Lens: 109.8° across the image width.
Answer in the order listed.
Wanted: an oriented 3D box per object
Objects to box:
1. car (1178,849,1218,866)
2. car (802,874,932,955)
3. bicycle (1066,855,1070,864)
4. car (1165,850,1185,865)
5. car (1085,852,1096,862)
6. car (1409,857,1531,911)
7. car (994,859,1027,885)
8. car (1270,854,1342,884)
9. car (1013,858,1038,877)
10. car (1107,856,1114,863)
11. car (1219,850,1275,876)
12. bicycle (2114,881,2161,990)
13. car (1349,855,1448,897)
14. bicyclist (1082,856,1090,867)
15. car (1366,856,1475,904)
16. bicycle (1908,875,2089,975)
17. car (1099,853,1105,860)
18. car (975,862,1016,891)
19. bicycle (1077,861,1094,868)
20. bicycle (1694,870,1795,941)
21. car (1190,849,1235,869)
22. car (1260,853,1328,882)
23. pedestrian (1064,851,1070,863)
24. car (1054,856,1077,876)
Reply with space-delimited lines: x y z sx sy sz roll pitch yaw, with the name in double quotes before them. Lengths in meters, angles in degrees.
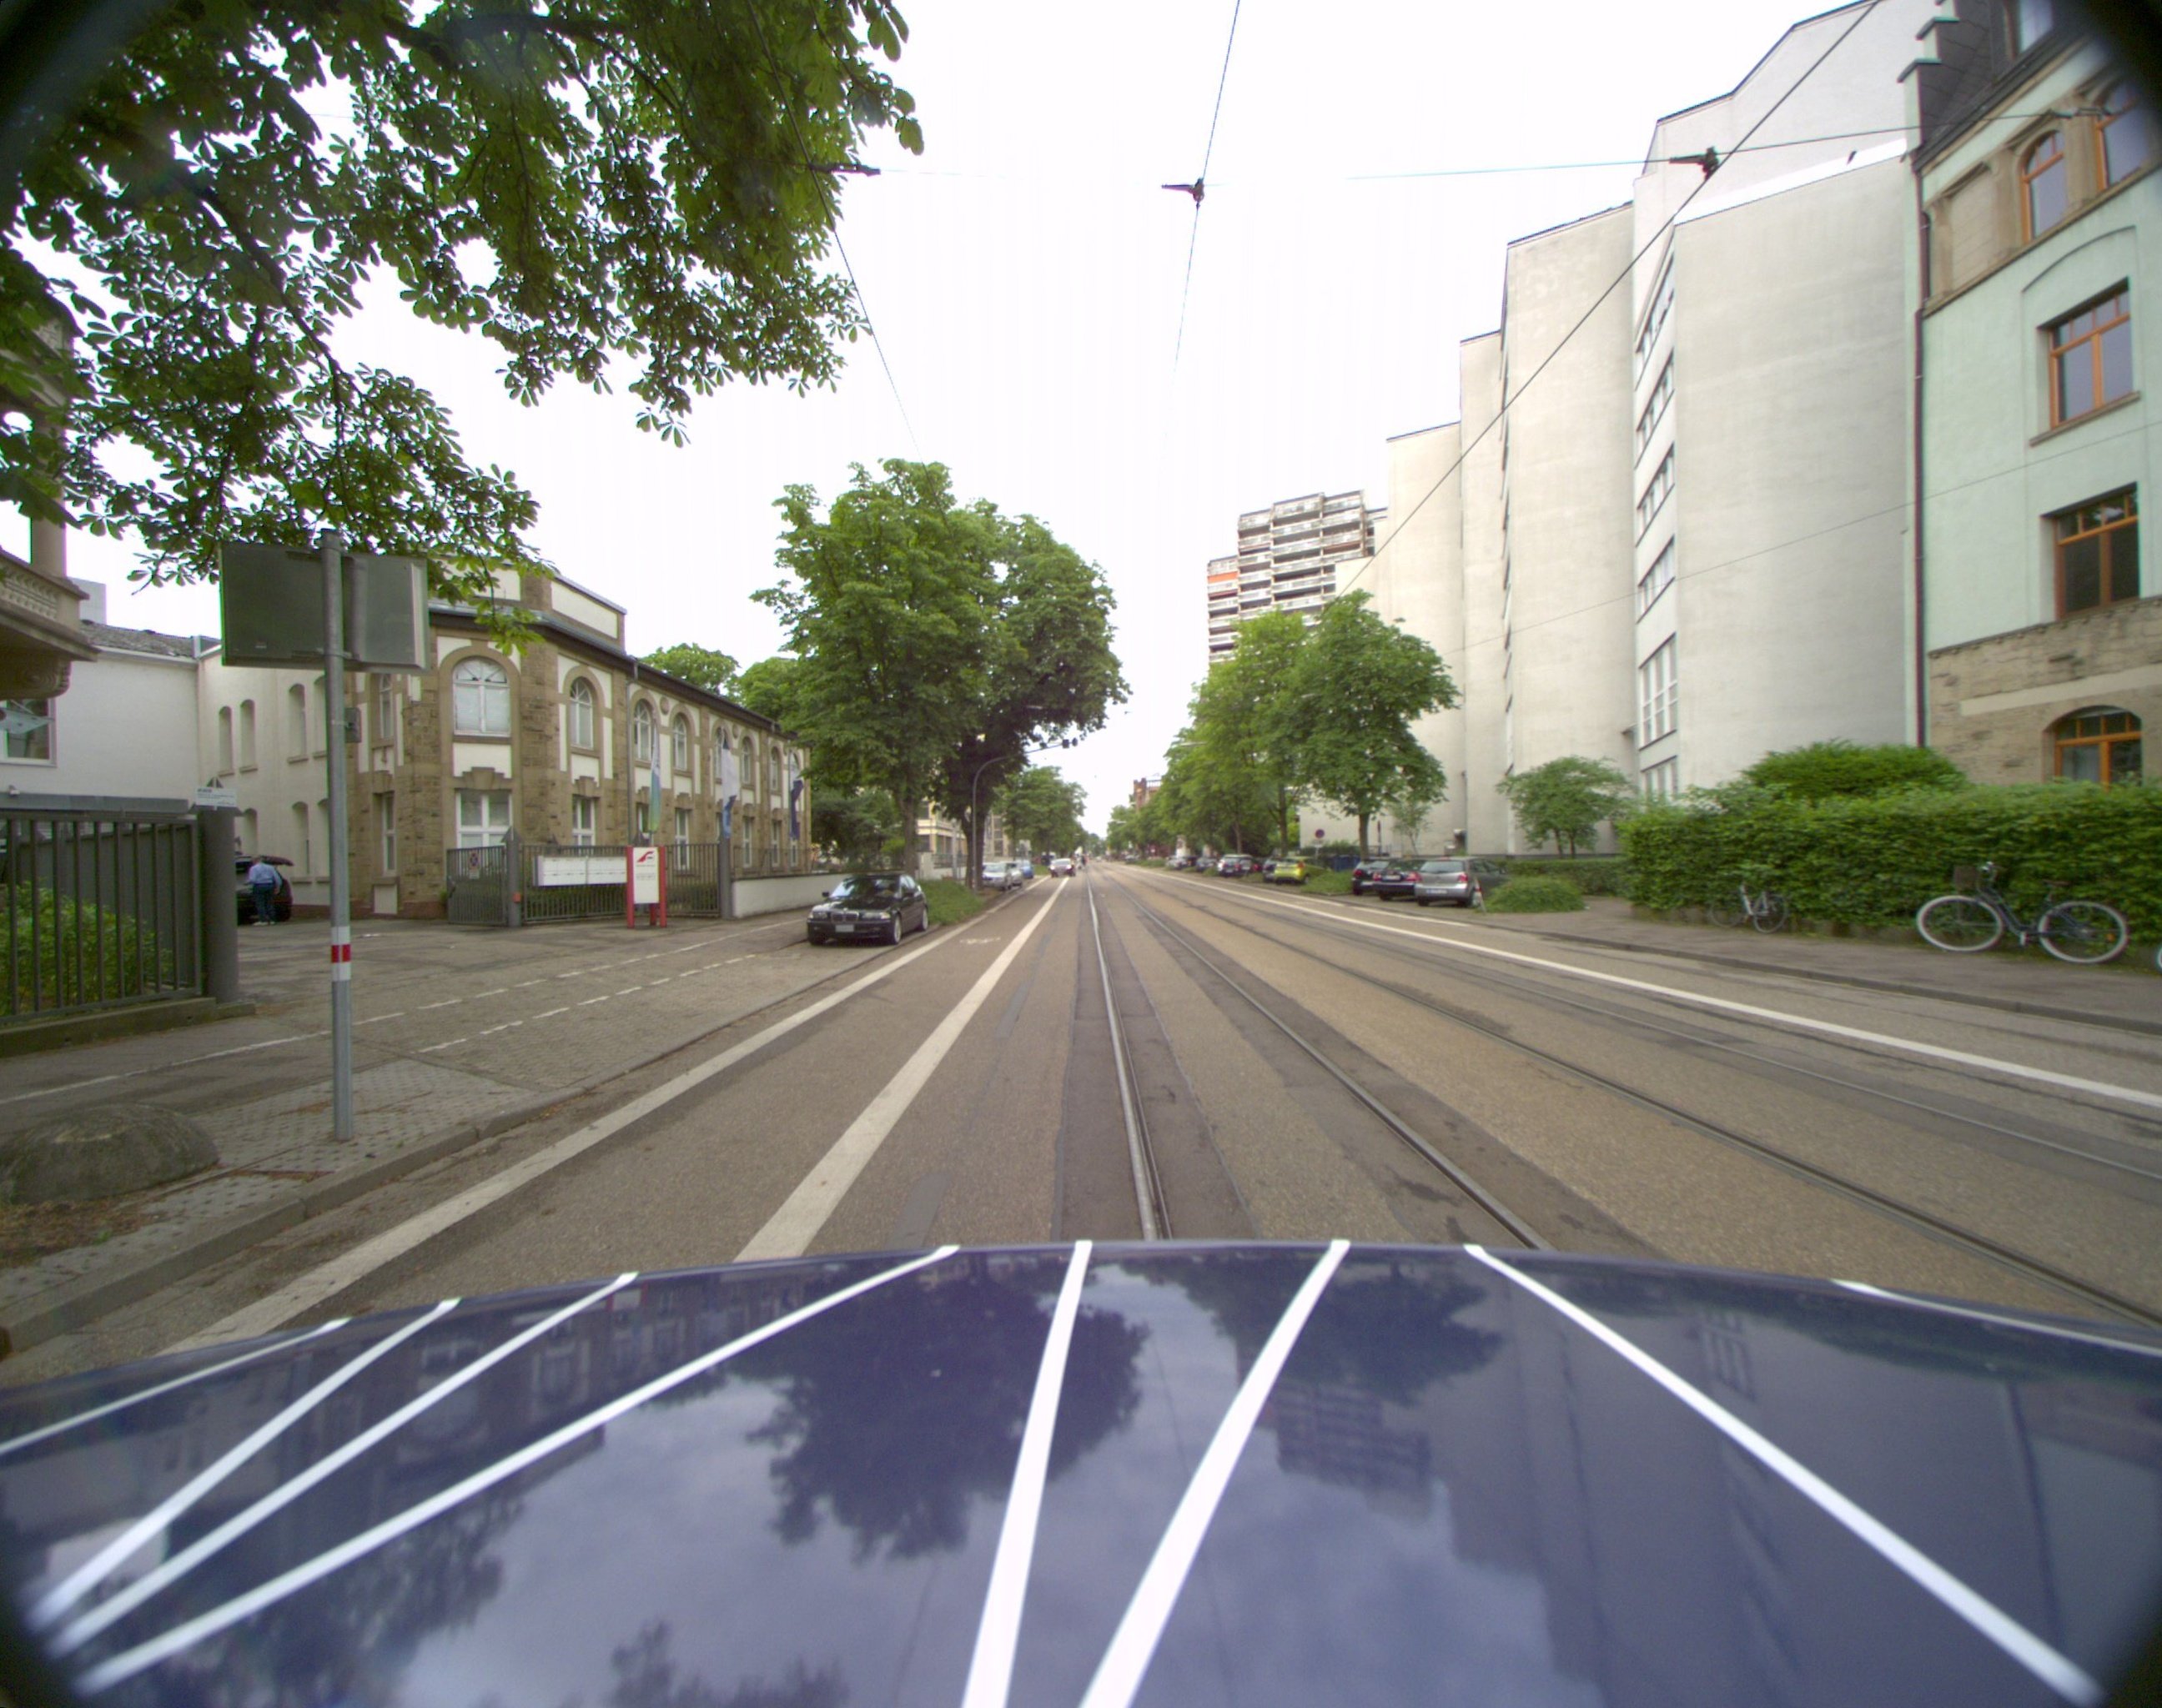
"car" 11.499 0.336 74.570 4.008 1.611 1.690 -1 0 -43
"car" -4.340 1.178 15.996 1.606 1.362 3.837 1 0 1
"bicycle" -1.723 0.737 98.030 0.414 1.197 1.707 -1 0 1
"car" 10.484 0.411 84.874 1.694 1.611 3.999 -1 0 -1
"car" 1.626 0.506 130.068 1.723 1.691 3.372 -1 0 1
"car" 11.495 0.809 22.352 4.008 1.395 1.691 -1 0 -39
"car" -4.204 1.061 45.709 1.606 1.416 3.837 1 0 1
"car" 11.442 0.748 38.550 4.008 1.387 1.690 -1 0 -43
"car" -4.230 0.996 58.223 1.606 1.362 3.837 1 0 1
"car" 9.216 1.552 235.148 1.906 2.002 3.999 -2 1 1
"car" 11.222 0.581 51.326 4.008 1.611 1.690 -1 0 -43
"bicycle" 11.040 0.824 7.220 0.360 1.077 1.546 -1 0 1
"car" 11.872 0.773 28.315 4.008 1.395 1.691 -1 0 -39
"bicyclist" 0.578 0.826 87.229 0.875 1.247 0.752 -1 1 -6
"car" 11.311 0.803 25.211 4.008 1.395 1.691 -1 0 -39
"bicycle" 11.129 0.821 9.295 0.360 1.077 1.546 -1 0 1
"car" 7.246 0.840 261.330 1.808 2.002 3.999 -2 1 1
"car" -4.280 1.100 38.570 1.606 1.362 3.837 1 0 1
"bicycle" 0.542 1.167 87.237 1.890 0.784 0.568 -1 1 -7
"bicycle" 11.160 0.837 12.841 0.360 1.077 1.546 -1 0 1
"car" 11.328 0.434 65.266 4.008 1.611 1.690 -1 0 -43
"car" 11.691 0.703 41.598 4.008 1.434 1.690 -1 0 -43
"pedestrian" -1.755 0.425 97.855 0.684 1.541 0.704 -1 1 1
"car" -1.227 0.953 61.128 1.606 1.427 3.777 -3 0 2
